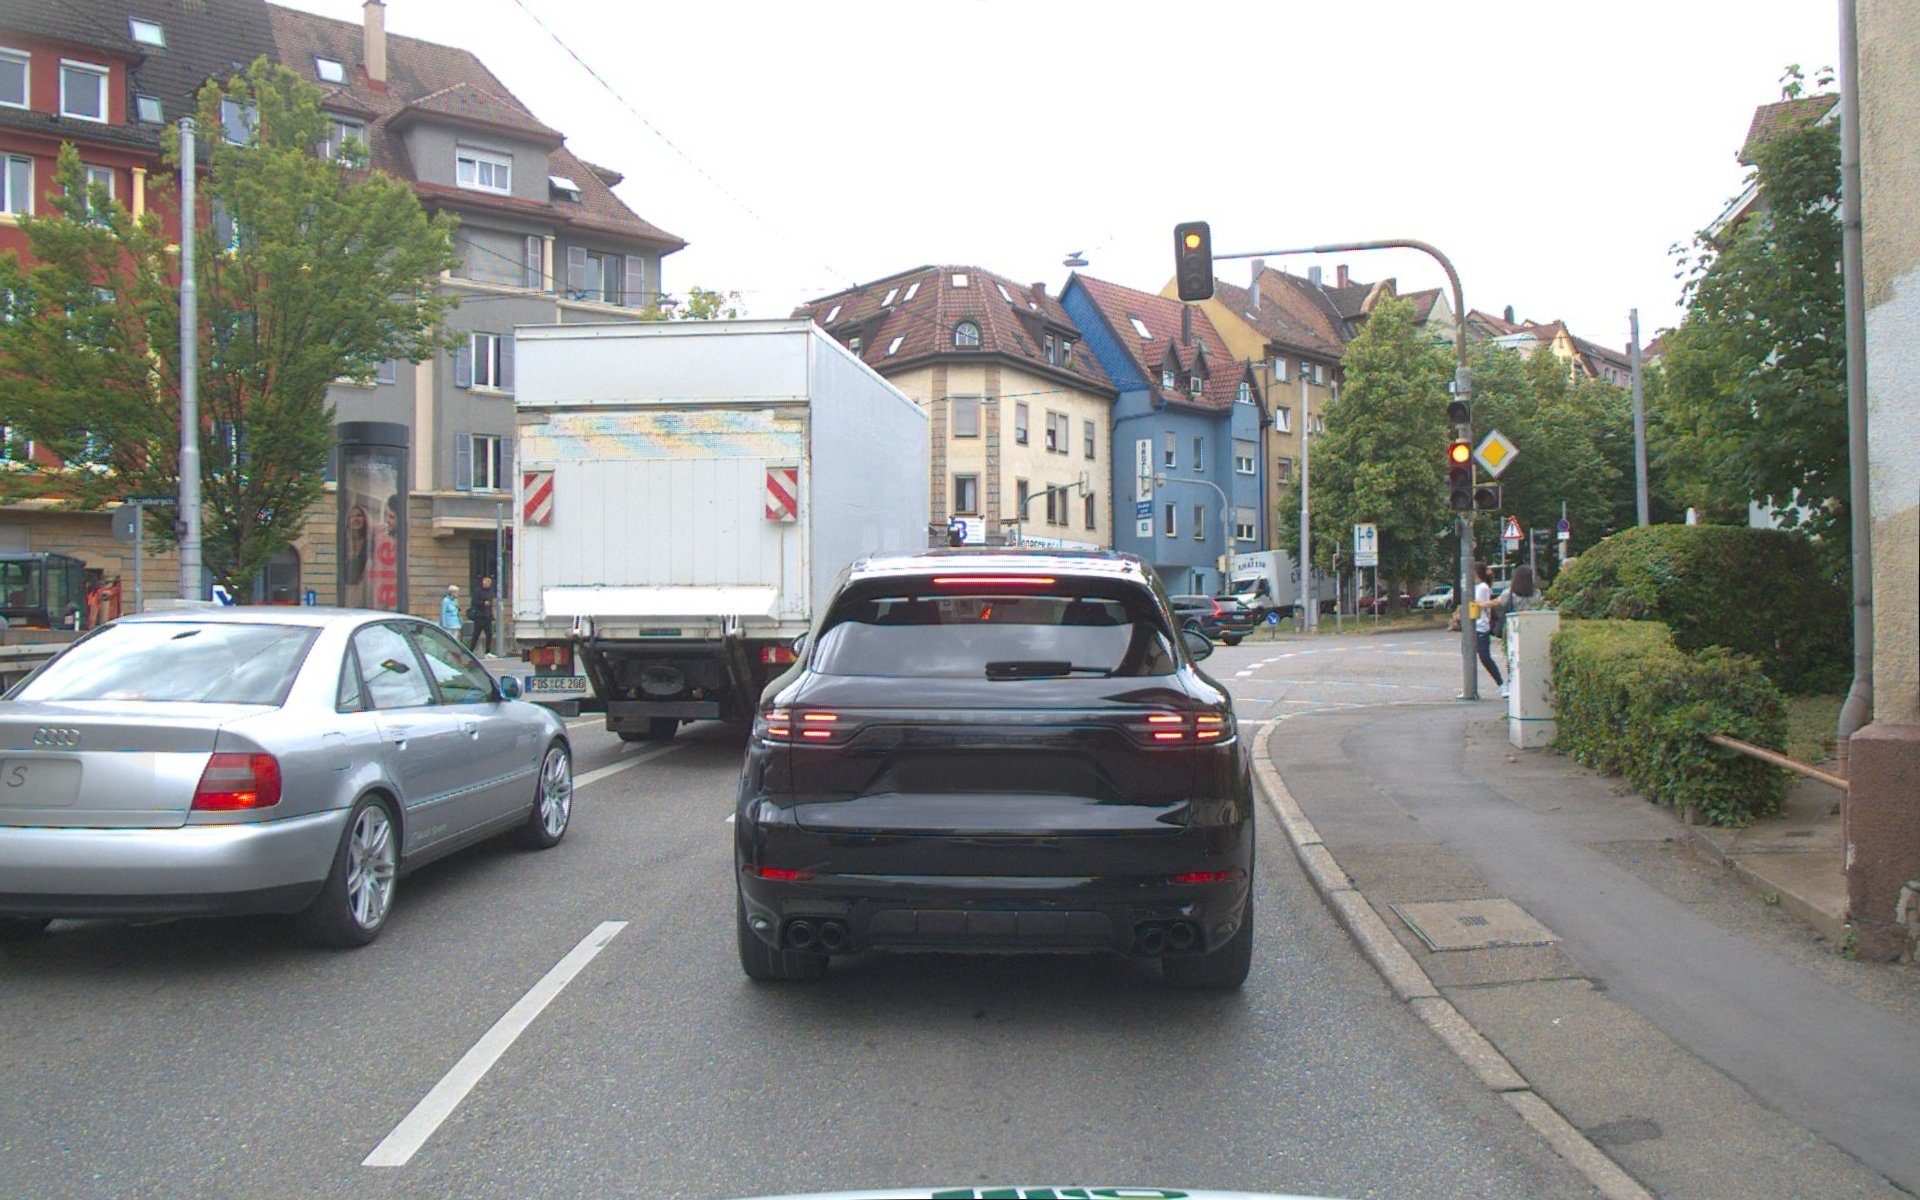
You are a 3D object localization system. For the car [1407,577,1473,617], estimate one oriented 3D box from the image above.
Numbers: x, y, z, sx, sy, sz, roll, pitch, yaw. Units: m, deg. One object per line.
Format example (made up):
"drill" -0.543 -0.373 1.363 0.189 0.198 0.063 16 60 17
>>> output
"car" 26.594 -0.179 91.569 1.965 2.049 3.975 2 0 42

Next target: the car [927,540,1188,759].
"car" 1.035 0.391 15.080 1.951 1.713 4.003 0 0 10

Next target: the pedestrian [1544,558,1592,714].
"pedestrian" 7.376 0.433 20.077 0.453 1.869 0.324 2 -1 14

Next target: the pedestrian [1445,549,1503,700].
"pedestrian" 6.440 0.305 20.728 0.577 1.851 0.529 2 -1 9

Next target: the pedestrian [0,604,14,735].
"pedestrian" -13.282 0.939 22.573 0.537 1.760 0.586 2 -1 -35

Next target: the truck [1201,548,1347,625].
"truck" 15.112 -0.598 78.977 2.830 3.398 8.744 2 0 41

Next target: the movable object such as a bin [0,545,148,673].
"movable object such as a bin" -14.084 0.114 25.573 1.870 1.802 3.986 2 0 -14

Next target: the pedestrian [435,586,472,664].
"pedestrian" -10.649 0.521 34.804 0.577 1.594 0.486 2 -1 -1

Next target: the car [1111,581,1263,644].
"car" 6.892 0.414 50.650 1.910 1.803 4.586 2 -2 -38

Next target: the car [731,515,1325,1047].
"car" 0.113 0.556 7.381 1.939 1.713 3.997 0 1 -4

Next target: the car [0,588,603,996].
"car" -3.137 0.668 8.012 1.660 1.397 4.180 0 1 4

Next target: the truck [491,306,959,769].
"truck" -1.898 -0.544 17.176 2.710 3.637 8.071 1 1 8

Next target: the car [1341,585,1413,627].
"car" 21.861 0.332 86.588 1.965 2.049 3.975 2 0 42
